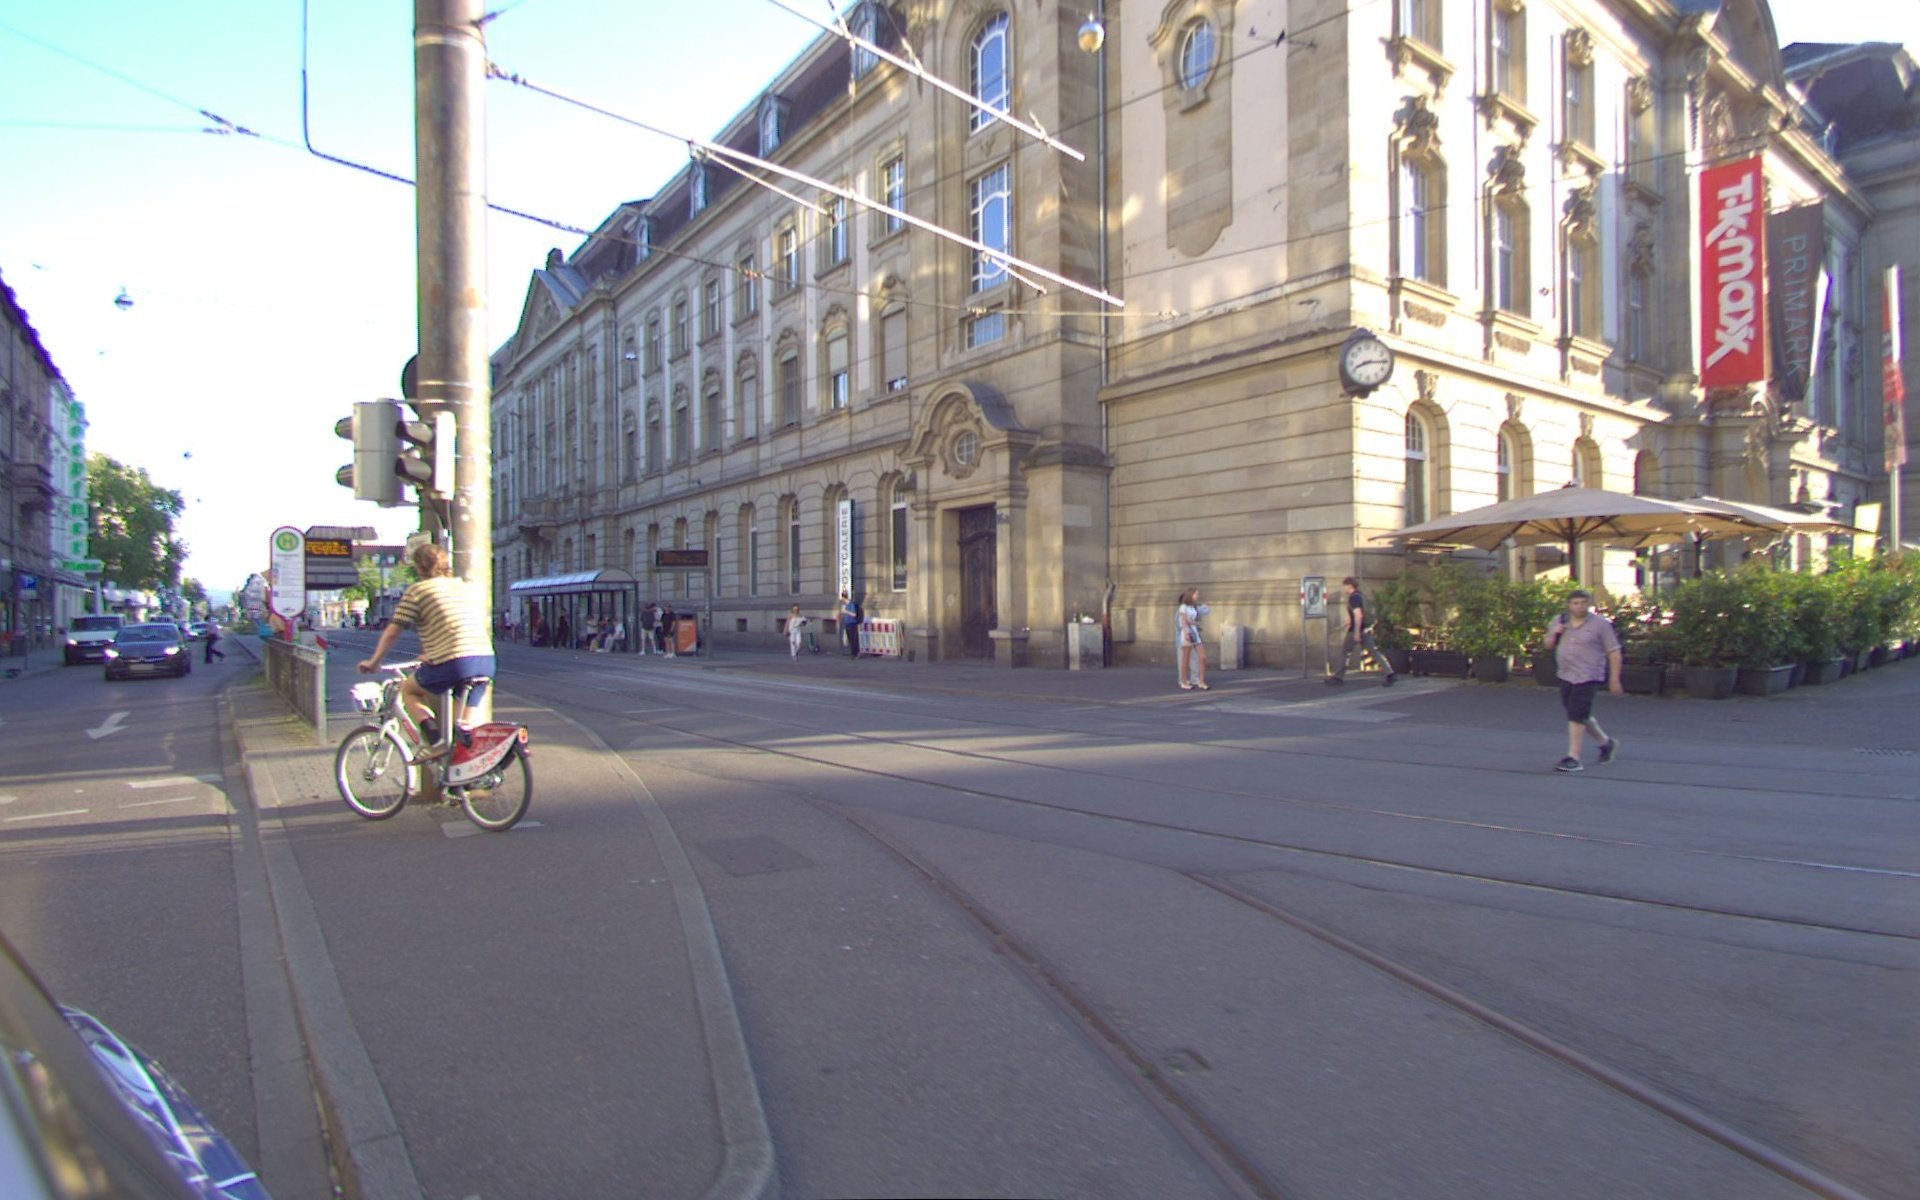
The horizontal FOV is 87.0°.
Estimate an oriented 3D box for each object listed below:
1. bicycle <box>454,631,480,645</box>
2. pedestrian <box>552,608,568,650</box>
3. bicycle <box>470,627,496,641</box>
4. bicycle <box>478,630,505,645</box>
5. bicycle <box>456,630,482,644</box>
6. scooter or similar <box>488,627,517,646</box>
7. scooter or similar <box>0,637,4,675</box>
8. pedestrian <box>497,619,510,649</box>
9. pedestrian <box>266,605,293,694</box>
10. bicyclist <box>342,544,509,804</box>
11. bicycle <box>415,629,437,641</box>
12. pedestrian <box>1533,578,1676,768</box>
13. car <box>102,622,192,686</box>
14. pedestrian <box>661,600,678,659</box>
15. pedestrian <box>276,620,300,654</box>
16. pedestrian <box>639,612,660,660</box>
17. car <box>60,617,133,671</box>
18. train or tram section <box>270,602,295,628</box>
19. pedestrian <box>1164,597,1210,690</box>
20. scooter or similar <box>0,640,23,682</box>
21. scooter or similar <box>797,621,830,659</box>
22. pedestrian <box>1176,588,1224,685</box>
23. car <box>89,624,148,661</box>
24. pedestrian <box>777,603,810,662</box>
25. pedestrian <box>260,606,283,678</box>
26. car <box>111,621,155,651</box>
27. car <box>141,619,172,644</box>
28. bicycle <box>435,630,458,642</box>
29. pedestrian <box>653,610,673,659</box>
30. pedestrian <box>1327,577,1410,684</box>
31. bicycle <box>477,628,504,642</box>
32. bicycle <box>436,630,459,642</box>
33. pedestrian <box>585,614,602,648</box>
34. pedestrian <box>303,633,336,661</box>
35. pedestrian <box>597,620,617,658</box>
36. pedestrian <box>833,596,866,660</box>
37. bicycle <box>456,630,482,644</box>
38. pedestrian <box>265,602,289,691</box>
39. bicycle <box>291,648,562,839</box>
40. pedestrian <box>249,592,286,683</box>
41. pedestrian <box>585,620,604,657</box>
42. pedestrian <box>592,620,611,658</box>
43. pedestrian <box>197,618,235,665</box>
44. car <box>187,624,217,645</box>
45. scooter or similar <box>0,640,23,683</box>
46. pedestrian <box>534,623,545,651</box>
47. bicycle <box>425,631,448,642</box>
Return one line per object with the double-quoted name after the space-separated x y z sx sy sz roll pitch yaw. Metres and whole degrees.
-34.810 2.679 71.444 1.554 0.880 0.452 -2 0 -32 "bicycle"
-16.394 1.181 41.491 0.510 1.663 0.640 -1 0 -15 "pedestrian"
-32.051 2.293 68.035 1.554 0.880 0.452 -2 0 -32 "bicycle"
-30.134 2.424 65.081 1.554 0.880 0.452 -2 0 -32 "bicycle"
-34.214 2.573 70.519 1.554 0.880 0.452 -2 0 -32 "bicycle"
-27.212 2.149 60.232 1.526 1.076 0.452 -2 0 -32 "scooter or similar"
-31.438 1.834 32.878 0.267 1.244 1.311 1 -2 -33 "scooter or similar"
-25.229 1.880 55.892 0.434 1.617 0.572 -2 0 -4 "pedestrian"
-12.873 0.929 19.152 0.352 1.654 0.504 -2 0 -39 "pedestrian"
-3.510 0.462 6.670 0.785 1.605 0.606 -1 -1 19 "bicyclist"
-44.369 2.914 84.075 1.554 0.880 0.452 -2 0 -32 "bicycle"
5.920 0.634 9.314 0.821 1.641 0.806 -1 -1 -33 "pedestrian"
-22.125 1.410 27.660 1.711 1.515 4.009 -2 0 -36 "car"
-8.970 0.910 31.235 0.461 1.789 0.563 -1 -1 -16 "pedestrian"
-29.908 1.642 45.055 0.835 1.512 0.903 -1 -1 -37 "pedestrian"
-10.495 1.206 34.226 0.510 1.581 0.640 0 0 -33 "pedestrian"
-34.281 1.680 40.277 1.852 1.938 4.710 -3 1 -37 "car"
-116.231 2.560 173.543 2.857 3.713 13.513 4 -1 -36 "train or tram section"
3.819 0.725 17.042 0.511 1.537 0.503 -1 -1 -32 "pedestrian"
-28.649 1.815 30.137 0.270 1.244 1.040 0 -1 21 "scooter or similar"
-4.668 1.261 32.202 0.480 1.190 1.296 -2 0 -35 "scooter or similar"
3.862 0.578 16.308 0.519 1.537 0.504 -1 -1 -35 "pedestrian"
-38.482 1.911 46.344 1.782 1.494 4.788 -3 0 -37 "car"
-4.751 0.912 28.876 0.690 1.626 0.632 -2 0 -38 "pedestrian"
-17.504 1.054 25.739 0.407 1.780 0.595 -2 0 -39 "pedestrian"
-47.532 2.050 58.255 1.710 1.522 4.876 -3 1 -37 "car"
-69.036 2.656 86.995 1.828 2.083 5.227 0 -1 -36 "car"
-39.920 2.803 78.672 1.554 0.880 0.452 -2 0 -32 "bicycle"
-10.250 1.180 34.910 0.510 1.658 0.640 0 0 -33 "pedestrian"
6.460 0.471 16.024 0.680 1.641 0.974 -1 -1 -38 "pedestrian"
-30.982 2.302 66.792 1.554 0.880 0.452 -2 0 -32 "bicycle"
-40.184 2.808 79.373 1.554 0.880 0.452 -2 0 -32 "bicycle"
-14.444 1.211 39.898 0.510 1.337 0.640 0 0 -33 "pedestrian"
-22.894 1.668 36.188 0.787 0.946 0.695 -1 -1 -14 "pedestrian"
-12.668 1.406 36.312 0.510 1.337 0.640 0 0 -33 "pedestrian"
-3.175 0.805 29.003 0.612 1.789 0.707 -1 -1 -40 "pedestrian"
-33.921 2.577 69.943 1.554 0.880 0.452 -2 0 -32 "bicycle"
-14.141 0.960 20.953 0.337 1.809 0.545 -2 0 -39 "pedestrian"
-3.509 0.897 6.676 1.611 1.112 0.626 0 -1 17 "bicycle"
-13.810 0.739 20.200 0.532 1.780 0.596 -2 0 -31 "pedestrian"
-13.570 1.428 37.573 0.510 1.337 0.640 0 0 -33 "pedestrian"
-13.129 1.417 37.057 0.510 1.337 0.640 0 0 -33 "pedestrian"
-26.748 1.480 36.389 0.955 1.641 0.693 -1 -1 -25 "pedestrian"
-59.097 2.691 78.880 1.782 1.494 4.292 -3 0 -37 "car"
-28.213 1.799 29.589 1.159 1.244 0.317 1 -1 -20 "scooter or similar"
-18.361 1.611 44.223 0.359 1.209 0.431 -2 0 -31 "pedestrian"
-42.327 2.943 81.849 1.554 0.880 0.452 -2 0 -32 "bicycle"
